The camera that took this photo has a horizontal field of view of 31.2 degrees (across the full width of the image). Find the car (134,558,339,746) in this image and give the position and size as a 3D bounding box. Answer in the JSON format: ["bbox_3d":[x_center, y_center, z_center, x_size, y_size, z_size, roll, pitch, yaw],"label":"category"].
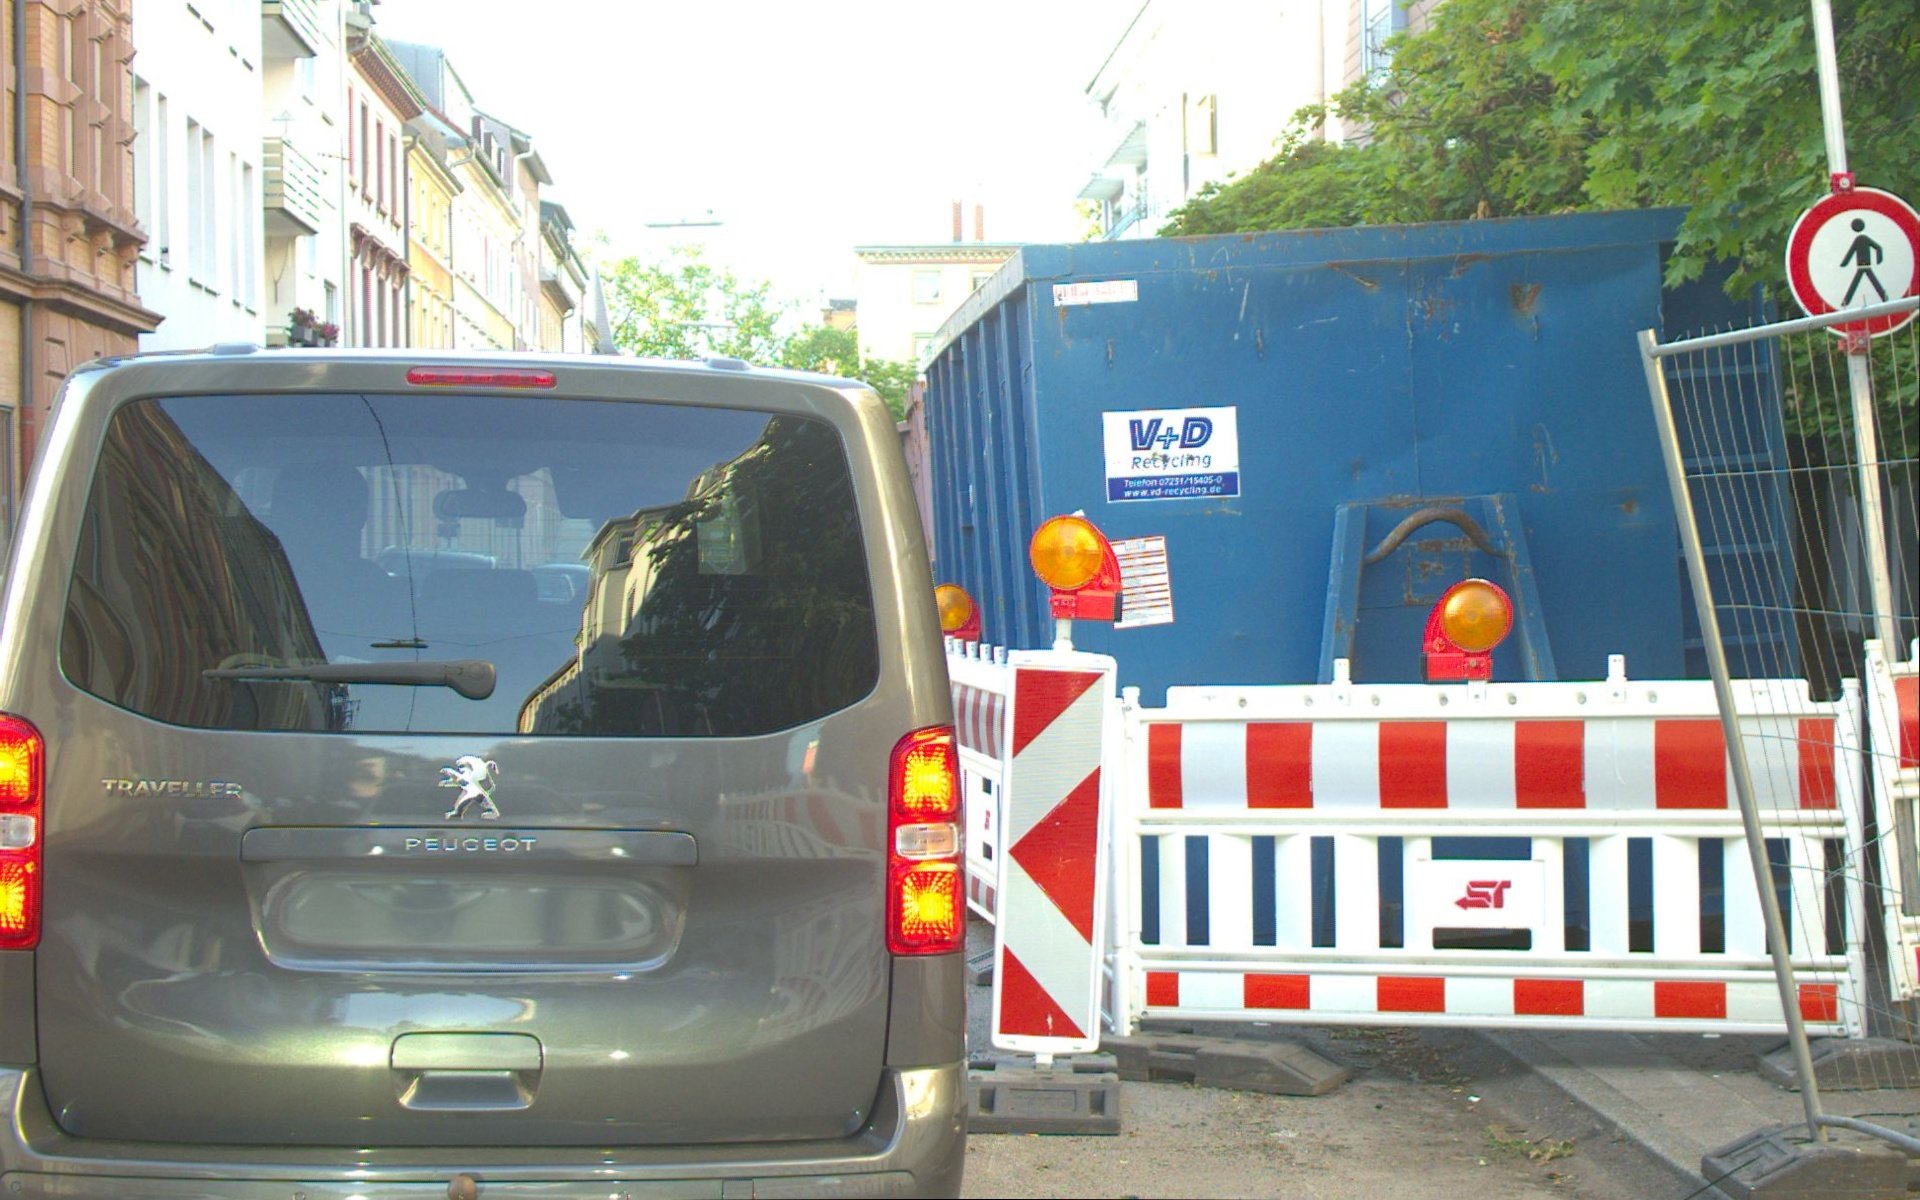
[{"bbox_3d":[-6.380,0.419,30.520,1.395,1.583,2.794,0,1,-4],"label":"car"}]

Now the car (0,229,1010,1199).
[{"bbox_3d":[-1.007,0.387,7.703,1.857,2.007,4.001,-2,1,-4],"label":"car"}]

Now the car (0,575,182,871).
[{"bbox_3d":[-5.288,0.590,18.582,1.632,1.425,3.556,0,1,-5],"label":"car"}]

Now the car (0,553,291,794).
[{"bbox_3d":[-5.710,0.454,24.048,1.555,1.503,3.598,2,1,-4],"label":"car"}]

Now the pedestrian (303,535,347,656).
[{"bbox_3d":[-8.666,-0.070,46.936,0.495,1.633,0.666,1,0,-3],"label":"pedestrian"}]

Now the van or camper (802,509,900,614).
[{"bbox_3d":[-2.914,-1.025,90.436,2.099,2.593,7.514,-2,1,-5],"label":"van or camper"}]

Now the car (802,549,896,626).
[{"bbox_3d":[-2.440,-0.289,74.611,1.722,1.606,4.589,-1,1,-6],"label":"car"}]

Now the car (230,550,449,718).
[{"bbox_3d":[-6.205,0.292,34.749,1.740,1.594,4.015,0,1,-4],"label":"car"}]
